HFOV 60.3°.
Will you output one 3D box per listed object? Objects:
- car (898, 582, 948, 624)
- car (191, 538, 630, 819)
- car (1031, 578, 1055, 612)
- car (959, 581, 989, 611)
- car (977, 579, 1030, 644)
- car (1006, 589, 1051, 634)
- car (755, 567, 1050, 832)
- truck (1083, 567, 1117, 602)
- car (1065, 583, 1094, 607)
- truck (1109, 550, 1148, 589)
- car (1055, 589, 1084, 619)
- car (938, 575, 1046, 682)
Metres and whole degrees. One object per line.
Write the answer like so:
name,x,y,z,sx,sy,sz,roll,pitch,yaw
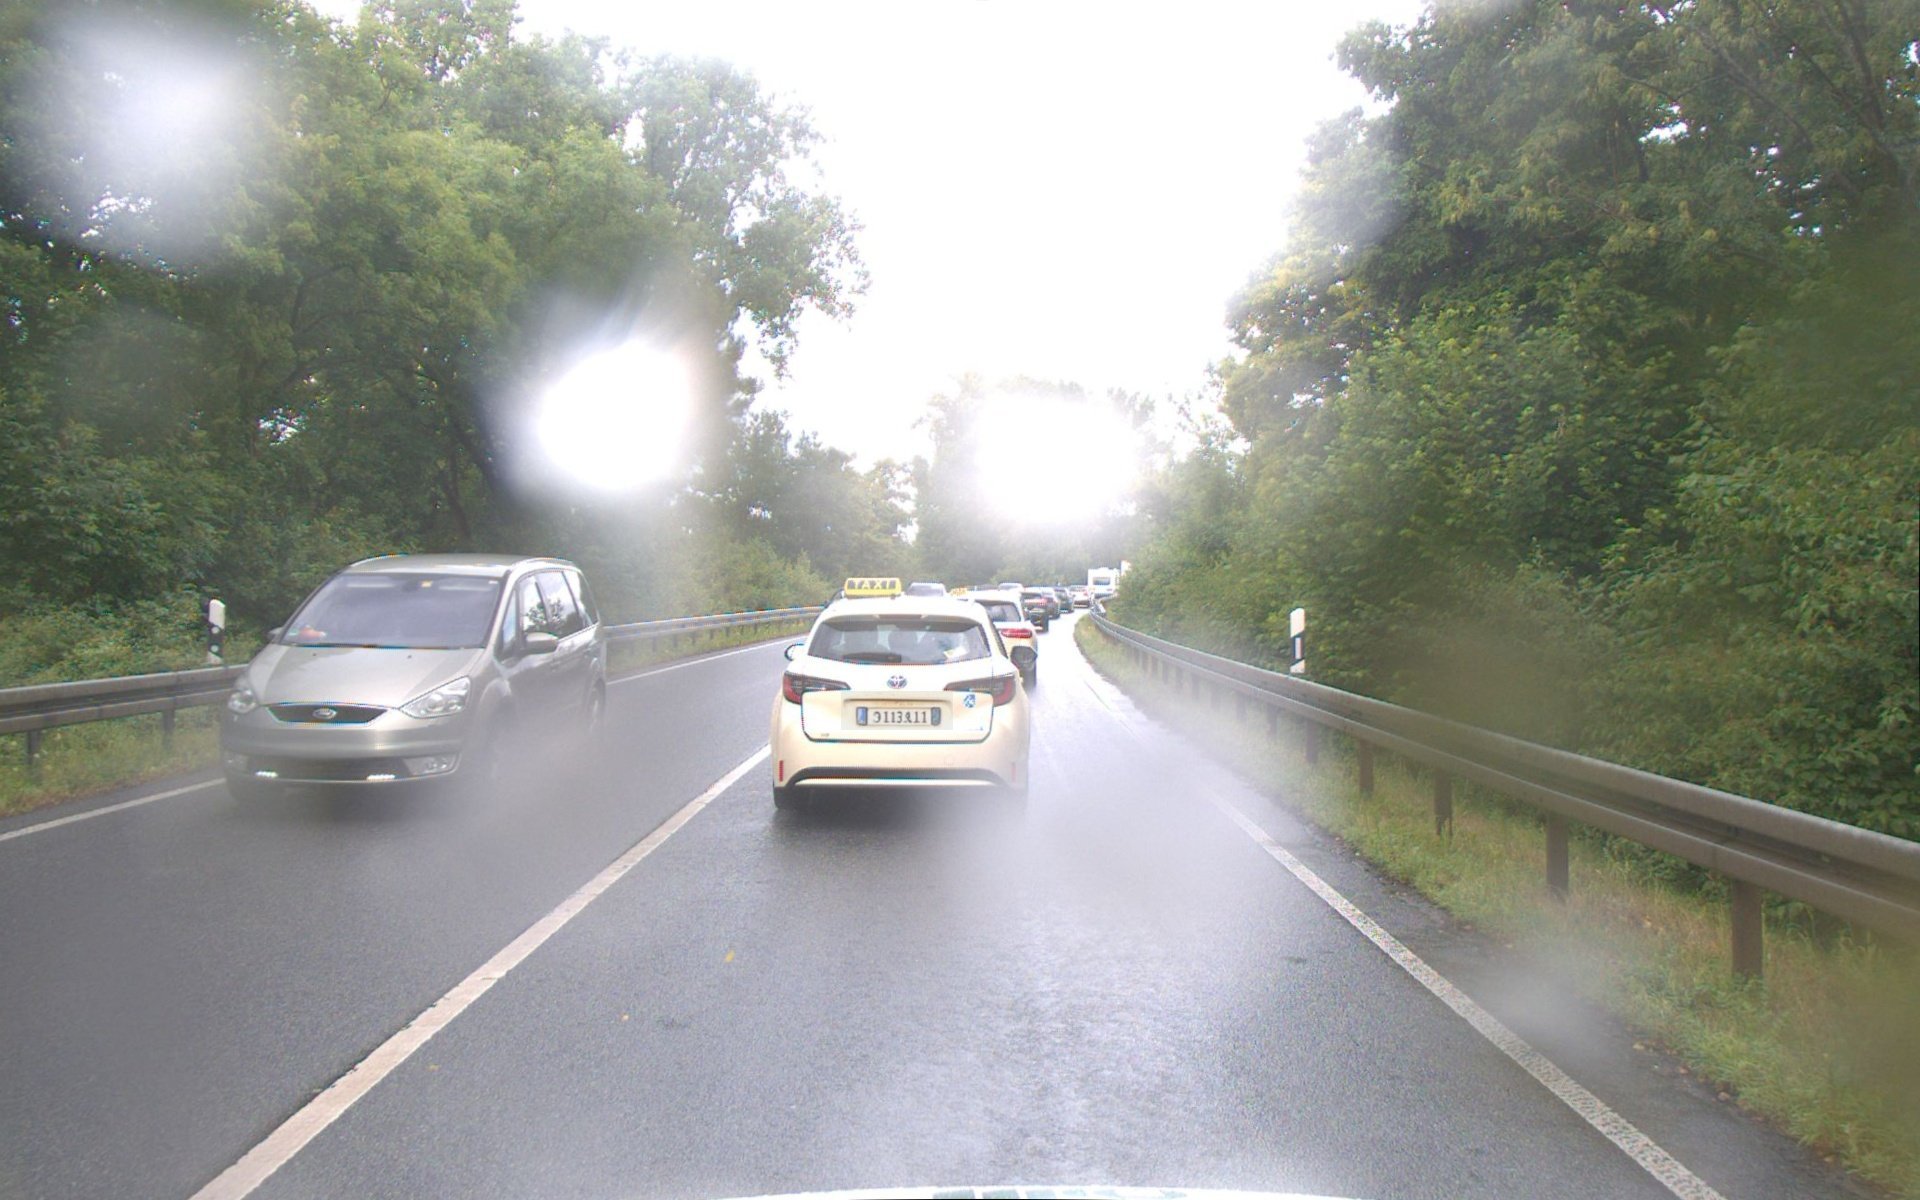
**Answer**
car,-1.411,0.110,63.840,1.769,1.559,4.207,1,0,1
car,-3.870,0.503,12.588,1.778,1.715,4.622,1,0,0
car,3.973,-0.236,79.472,1.143,1.574,2.605,1,-1,2
car,1.002,-0.271,116.144,1.952,2.049,4.001,1,-1,2
car,1.098,0.296,42.662,1.274,1.574,3.260,1,-1,1
car,2.469,0.424,59.873,1.578,1.574,3.814,0,-1,2
car,-0.352,0.633,12.308,1.796,1.608,4.156,1,0,0
truck,11.636,-1.252,138.353,2.496,2.760,7.537,1,0,2
car,8.159,-0.329,113.142,1.732,1.574,3.817,1,0,8
truck,17.203,-3.123,168.786,3.041,3.745,7.005,1,-1,13
car,6.238,0.247,93.896,1.582,1.641,3.623,1,-1,4
car,0.532,0.445,27.255,1.633,1.608,3.892,1,0,1
